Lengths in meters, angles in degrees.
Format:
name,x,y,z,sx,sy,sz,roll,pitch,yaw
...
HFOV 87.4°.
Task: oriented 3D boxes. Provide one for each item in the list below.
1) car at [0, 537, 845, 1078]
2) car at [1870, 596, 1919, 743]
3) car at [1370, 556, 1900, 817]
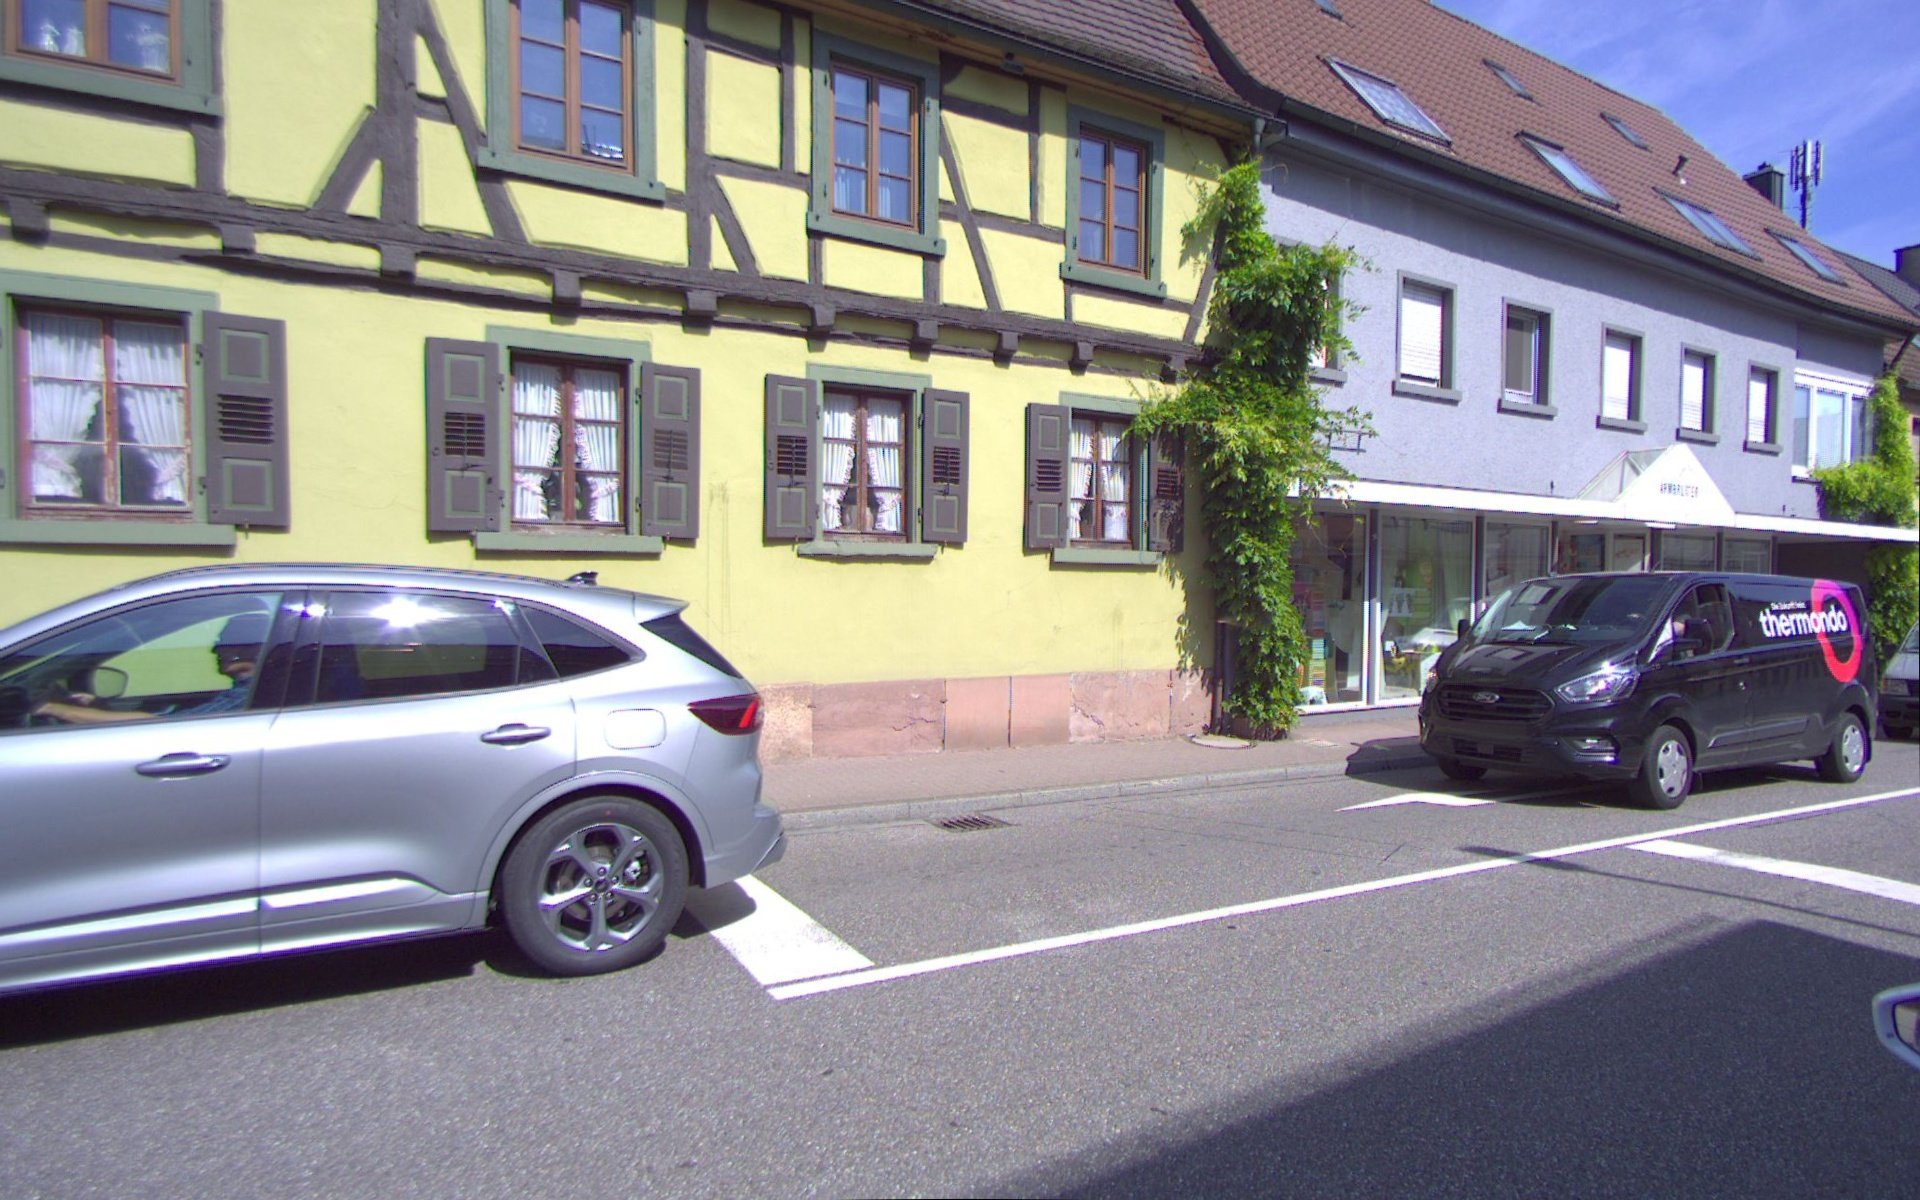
name,x,y,z,sx,sy,sz,roll,pitch,yaw
car,-2.823,0.663,4.094,4.376,1.631,1.748,1,-2,-30
car,14.706,0.938,13.850,4.496,1.916,1.875,1,-1,-29
car,6.572,0.702,9.673,5.101,1.948,2.150,1,-1,-29
